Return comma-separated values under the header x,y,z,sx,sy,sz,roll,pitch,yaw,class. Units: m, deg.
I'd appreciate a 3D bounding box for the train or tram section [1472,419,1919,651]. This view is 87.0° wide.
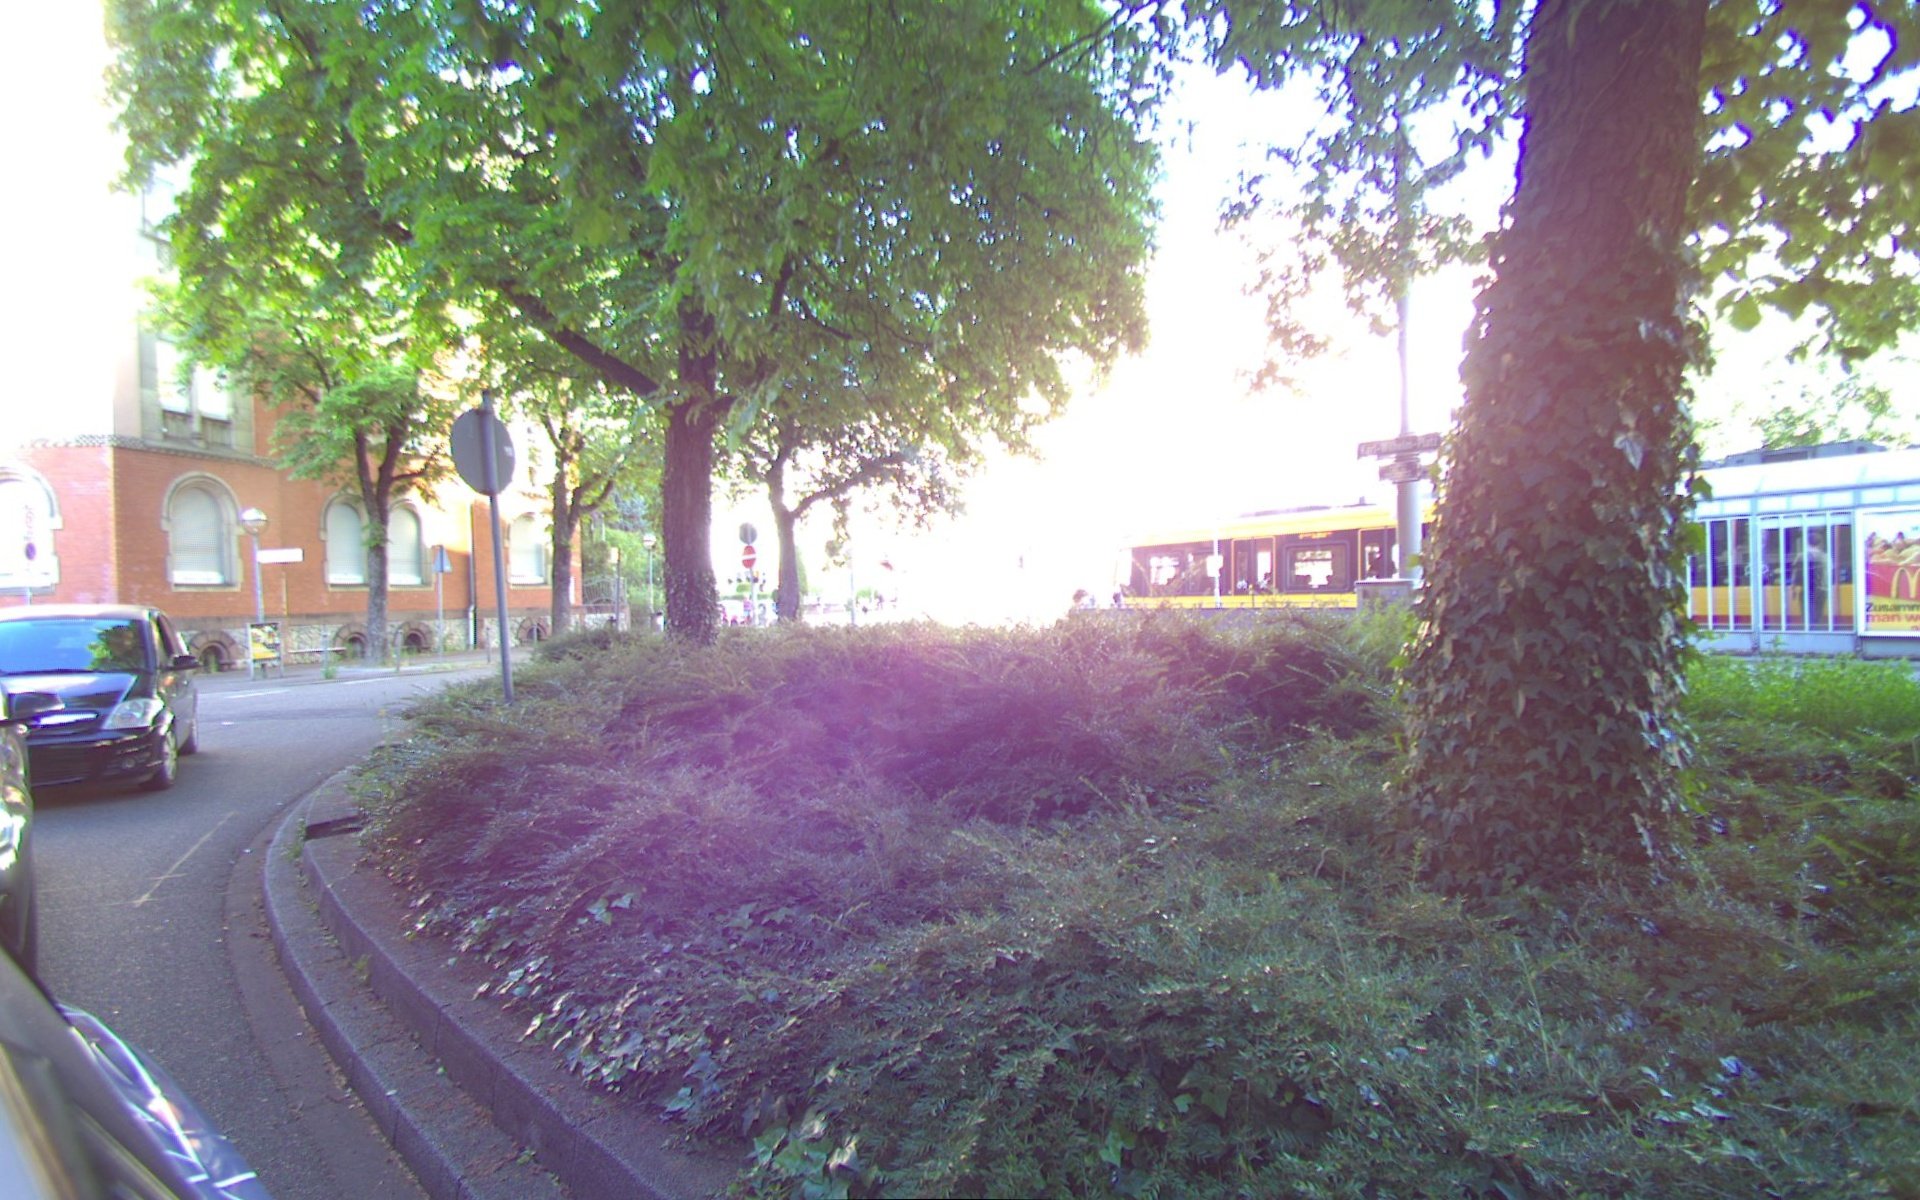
x,y,z,sx,sy,sz,roll,pitch,yaw,class
15.612,-1.045,17.394,2.739,3.614,12.456,-2,0,-32,train or tram section

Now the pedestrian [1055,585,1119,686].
x,y,z,sx,sy,sz,roll,pitch,yaw,class
1.896,0.514,15.138,0.698,1.454,0.602,-2,0,-25,pedestrian

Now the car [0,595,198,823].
x,y,z,sx,sy,sz,roll,pitch,yaw,class
-7.970,0.834,9.043,1.653,1.640,3.697,-2,0,-35,car

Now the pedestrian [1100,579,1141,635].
x,y,z,sx,sy,sz,roll,pitch,yaw,class
4.855,0.218,30.643,0.714,1.647,0.906,-4,2,-40,pedestrian

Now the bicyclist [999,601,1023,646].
x,y,z,sx,sy,sz,roll,pitch,yaw,class
1.815,0.829,35.936,0.588,1.585,0.557,-1,0,-30,bicyclist

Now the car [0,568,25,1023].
x,y,z,sx,sy,sz,roll,pitch,yaw,class
-5.422,0.733,4.529,1.768,1.590,4.264,-1,-1,-43,car

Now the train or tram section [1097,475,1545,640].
x,y,z,sx,sy,sz,roll,pitch,yaw,class
8.987,-0.885,28.115,2.727,3.584,12.718,-2,0,-32,train or tram section

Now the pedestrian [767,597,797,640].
x,y,z,sx,sy,sz,roll,pitch,yaw,class
-7.199,0.736,40.889,0.722,1.647,0.897,-3,1,27,pedestrian

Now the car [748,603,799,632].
x,y,z,sx,sy,sz,roll,pitch,yaw,class
-9.909,0.922,53.521,1.707,1.428,4.013,-2,0,-25,car

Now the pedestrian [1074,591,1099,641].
x,y,z,sx,sy,sz,roll,pitch,yaw,class
4.346,0.540,34.931,0.716,1.647,0.903,-3,1,5,pedestrian

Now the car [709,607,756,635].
x,y,z,sx,sy,sz,roll,pitch,yaw,class
-13.666,1.224,60.610,1.707,1.427,4.013,-2,2,-29,car
